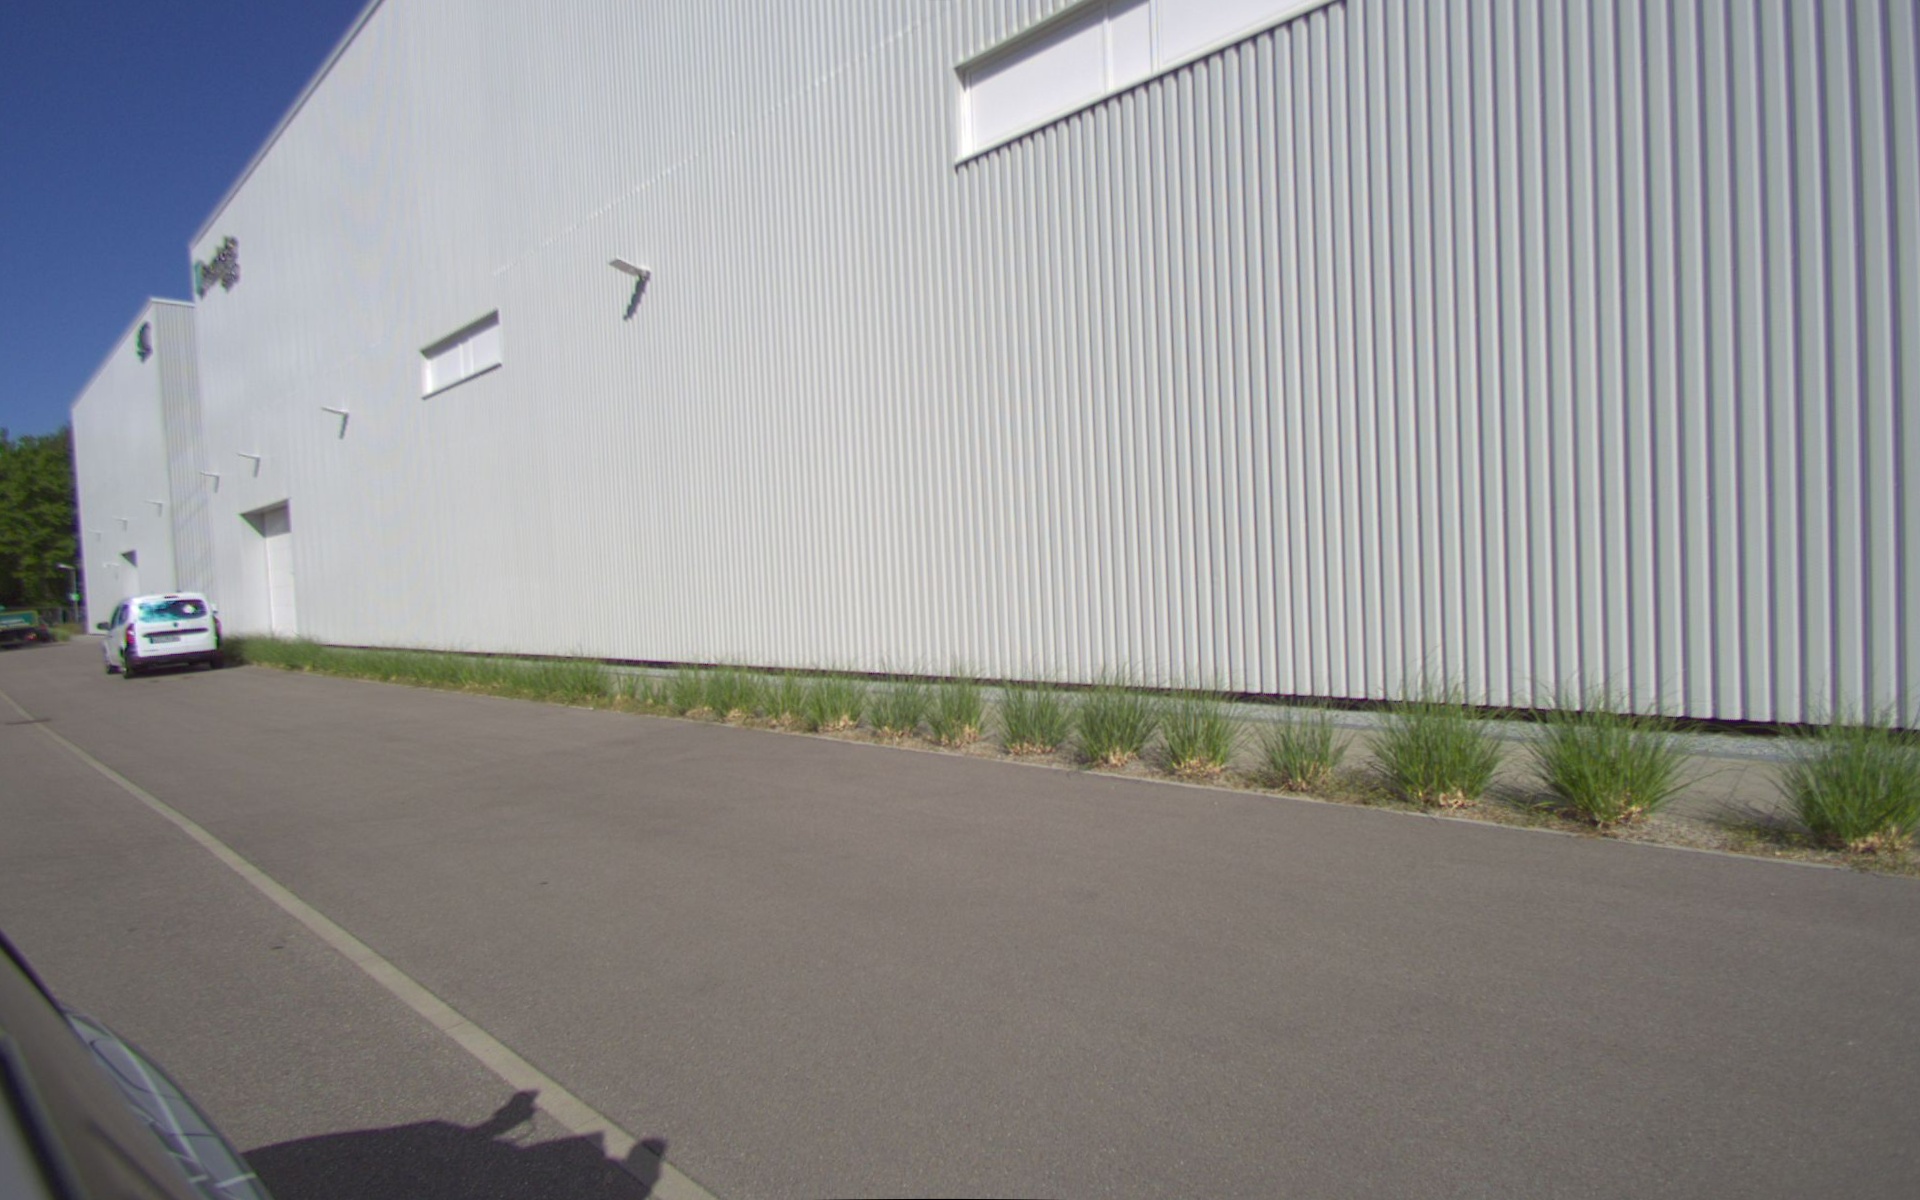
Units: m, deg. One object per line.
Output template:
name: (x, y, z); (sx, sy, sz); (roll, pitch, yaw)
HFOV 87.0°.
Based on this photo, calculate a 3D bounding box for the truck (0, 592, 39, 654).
truck: (-47.610, 1.268, 48.307); (9.660, 2.736, 2.563); (-3, 3, 31)

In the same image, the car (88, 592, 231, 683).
car: (-18.865, 0.841, 23.764); (4.598, 1.803, 1.908); (-2, 3, 44)
